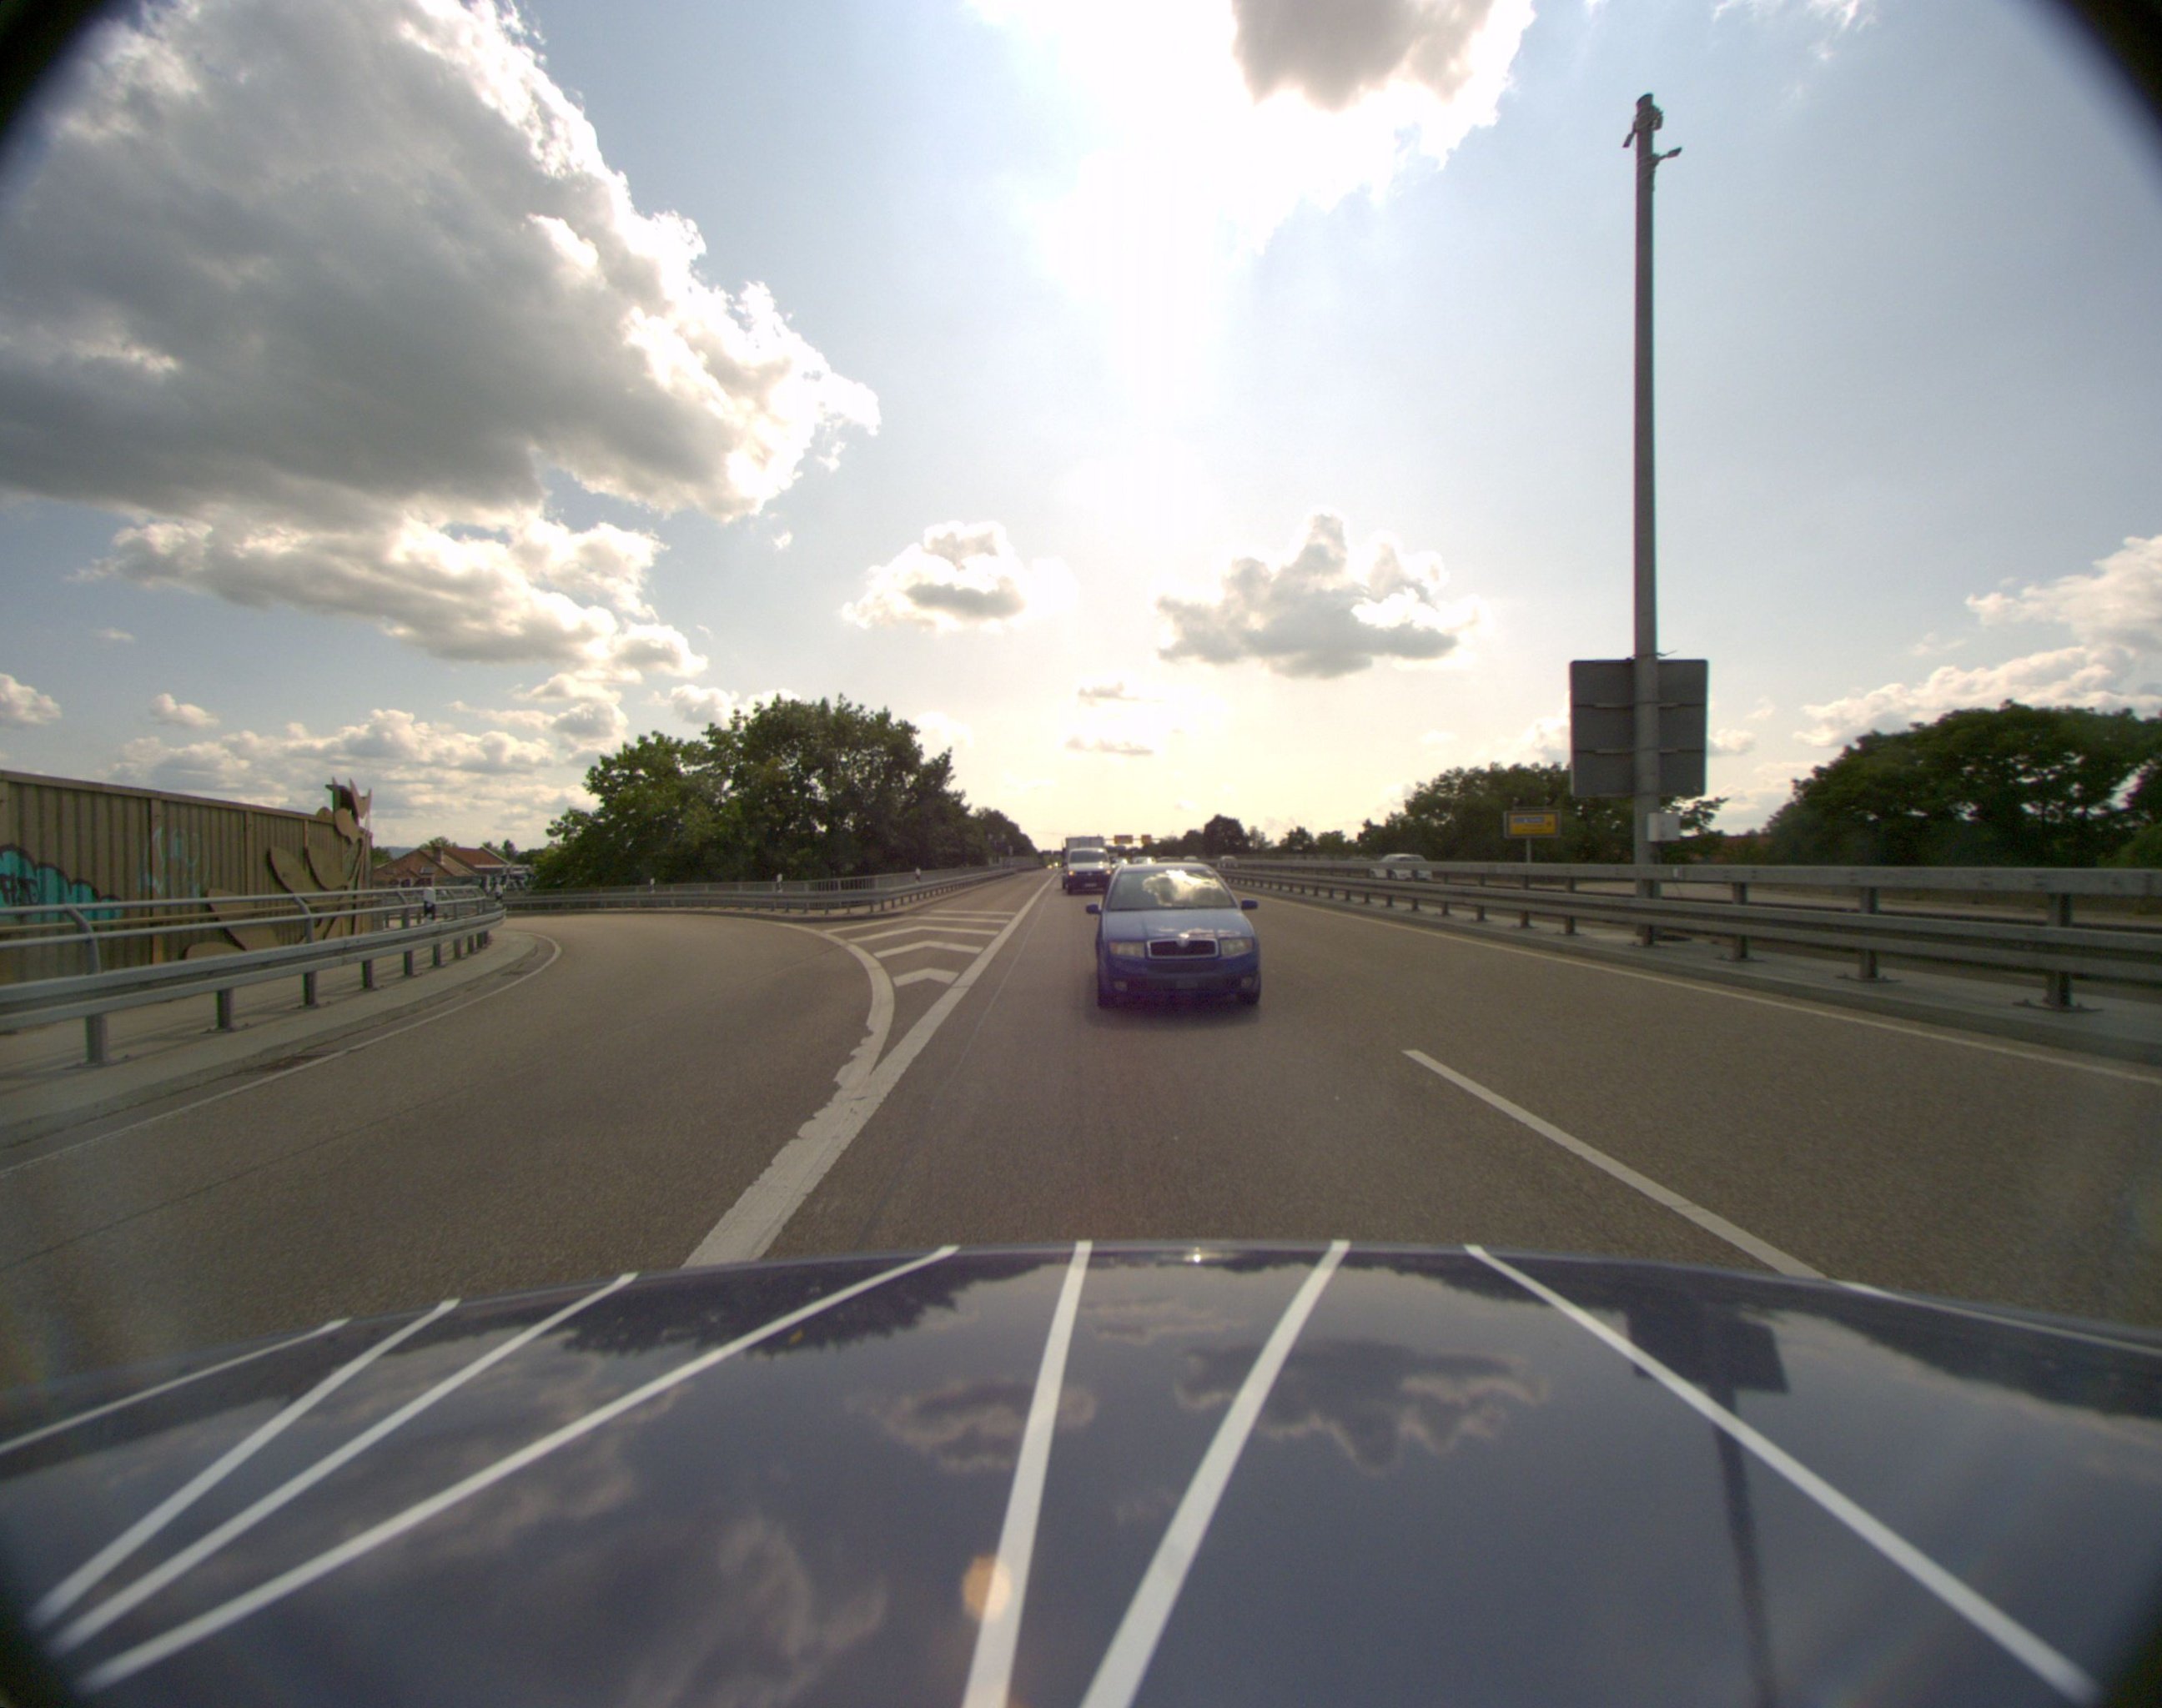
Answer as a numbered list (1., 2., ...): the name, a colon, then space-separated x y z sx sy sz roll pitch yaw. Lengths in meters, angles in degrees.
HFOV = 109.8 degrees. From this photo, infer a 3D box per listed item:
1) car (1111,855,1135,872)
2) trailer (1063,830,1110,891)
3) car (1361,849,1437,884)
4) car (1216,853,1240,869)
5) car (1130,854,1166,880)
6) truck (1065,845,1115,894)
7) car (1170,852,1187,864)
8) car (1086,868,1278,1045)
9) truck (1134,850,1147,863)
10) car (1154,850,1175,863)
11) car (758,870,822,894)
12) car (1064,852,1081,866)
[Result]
1. car: 3.893 0.855 70.848 1.895 1.518 4.464 -3 0 -1
2. trailer: 0.178 0.296 37.674 1.999 2.723 5.966 -3 0 -2
3. car: 15.883 0.588 38.219 1.802 1.586 4.711 -3 0 0
4. car: 15.573 0.701 80.689 1.834 1.572 3.953 -3 0 0
5. car: 4.254 0.777 48.921 1.779 1.518 4.464 -3 0 -1
6. truck: 0.321 0.649 32.734 2.008 1.905 4.000 -2 0 -1
7. car: 14.687 0.590 114.780 1.826 1.629 3.999 -3 0 -1
8. car: 0.899 0.936 8.538 1.625 1.403 3.771 -3 0 0
9. truck: 10.480 0.372 134.613 1.877 2.174 5.188 -3 0 0
10. car: 10.653 0.307 97.207 1.907 1.520 4.242 -3 0 -3
11. car: -19.443 1.852 50.780 3.776 1.403 1.766 -3 0 -26
12. car: -0.959 0.561 88.027 1.802 1.586 3.984 -3 0 0
